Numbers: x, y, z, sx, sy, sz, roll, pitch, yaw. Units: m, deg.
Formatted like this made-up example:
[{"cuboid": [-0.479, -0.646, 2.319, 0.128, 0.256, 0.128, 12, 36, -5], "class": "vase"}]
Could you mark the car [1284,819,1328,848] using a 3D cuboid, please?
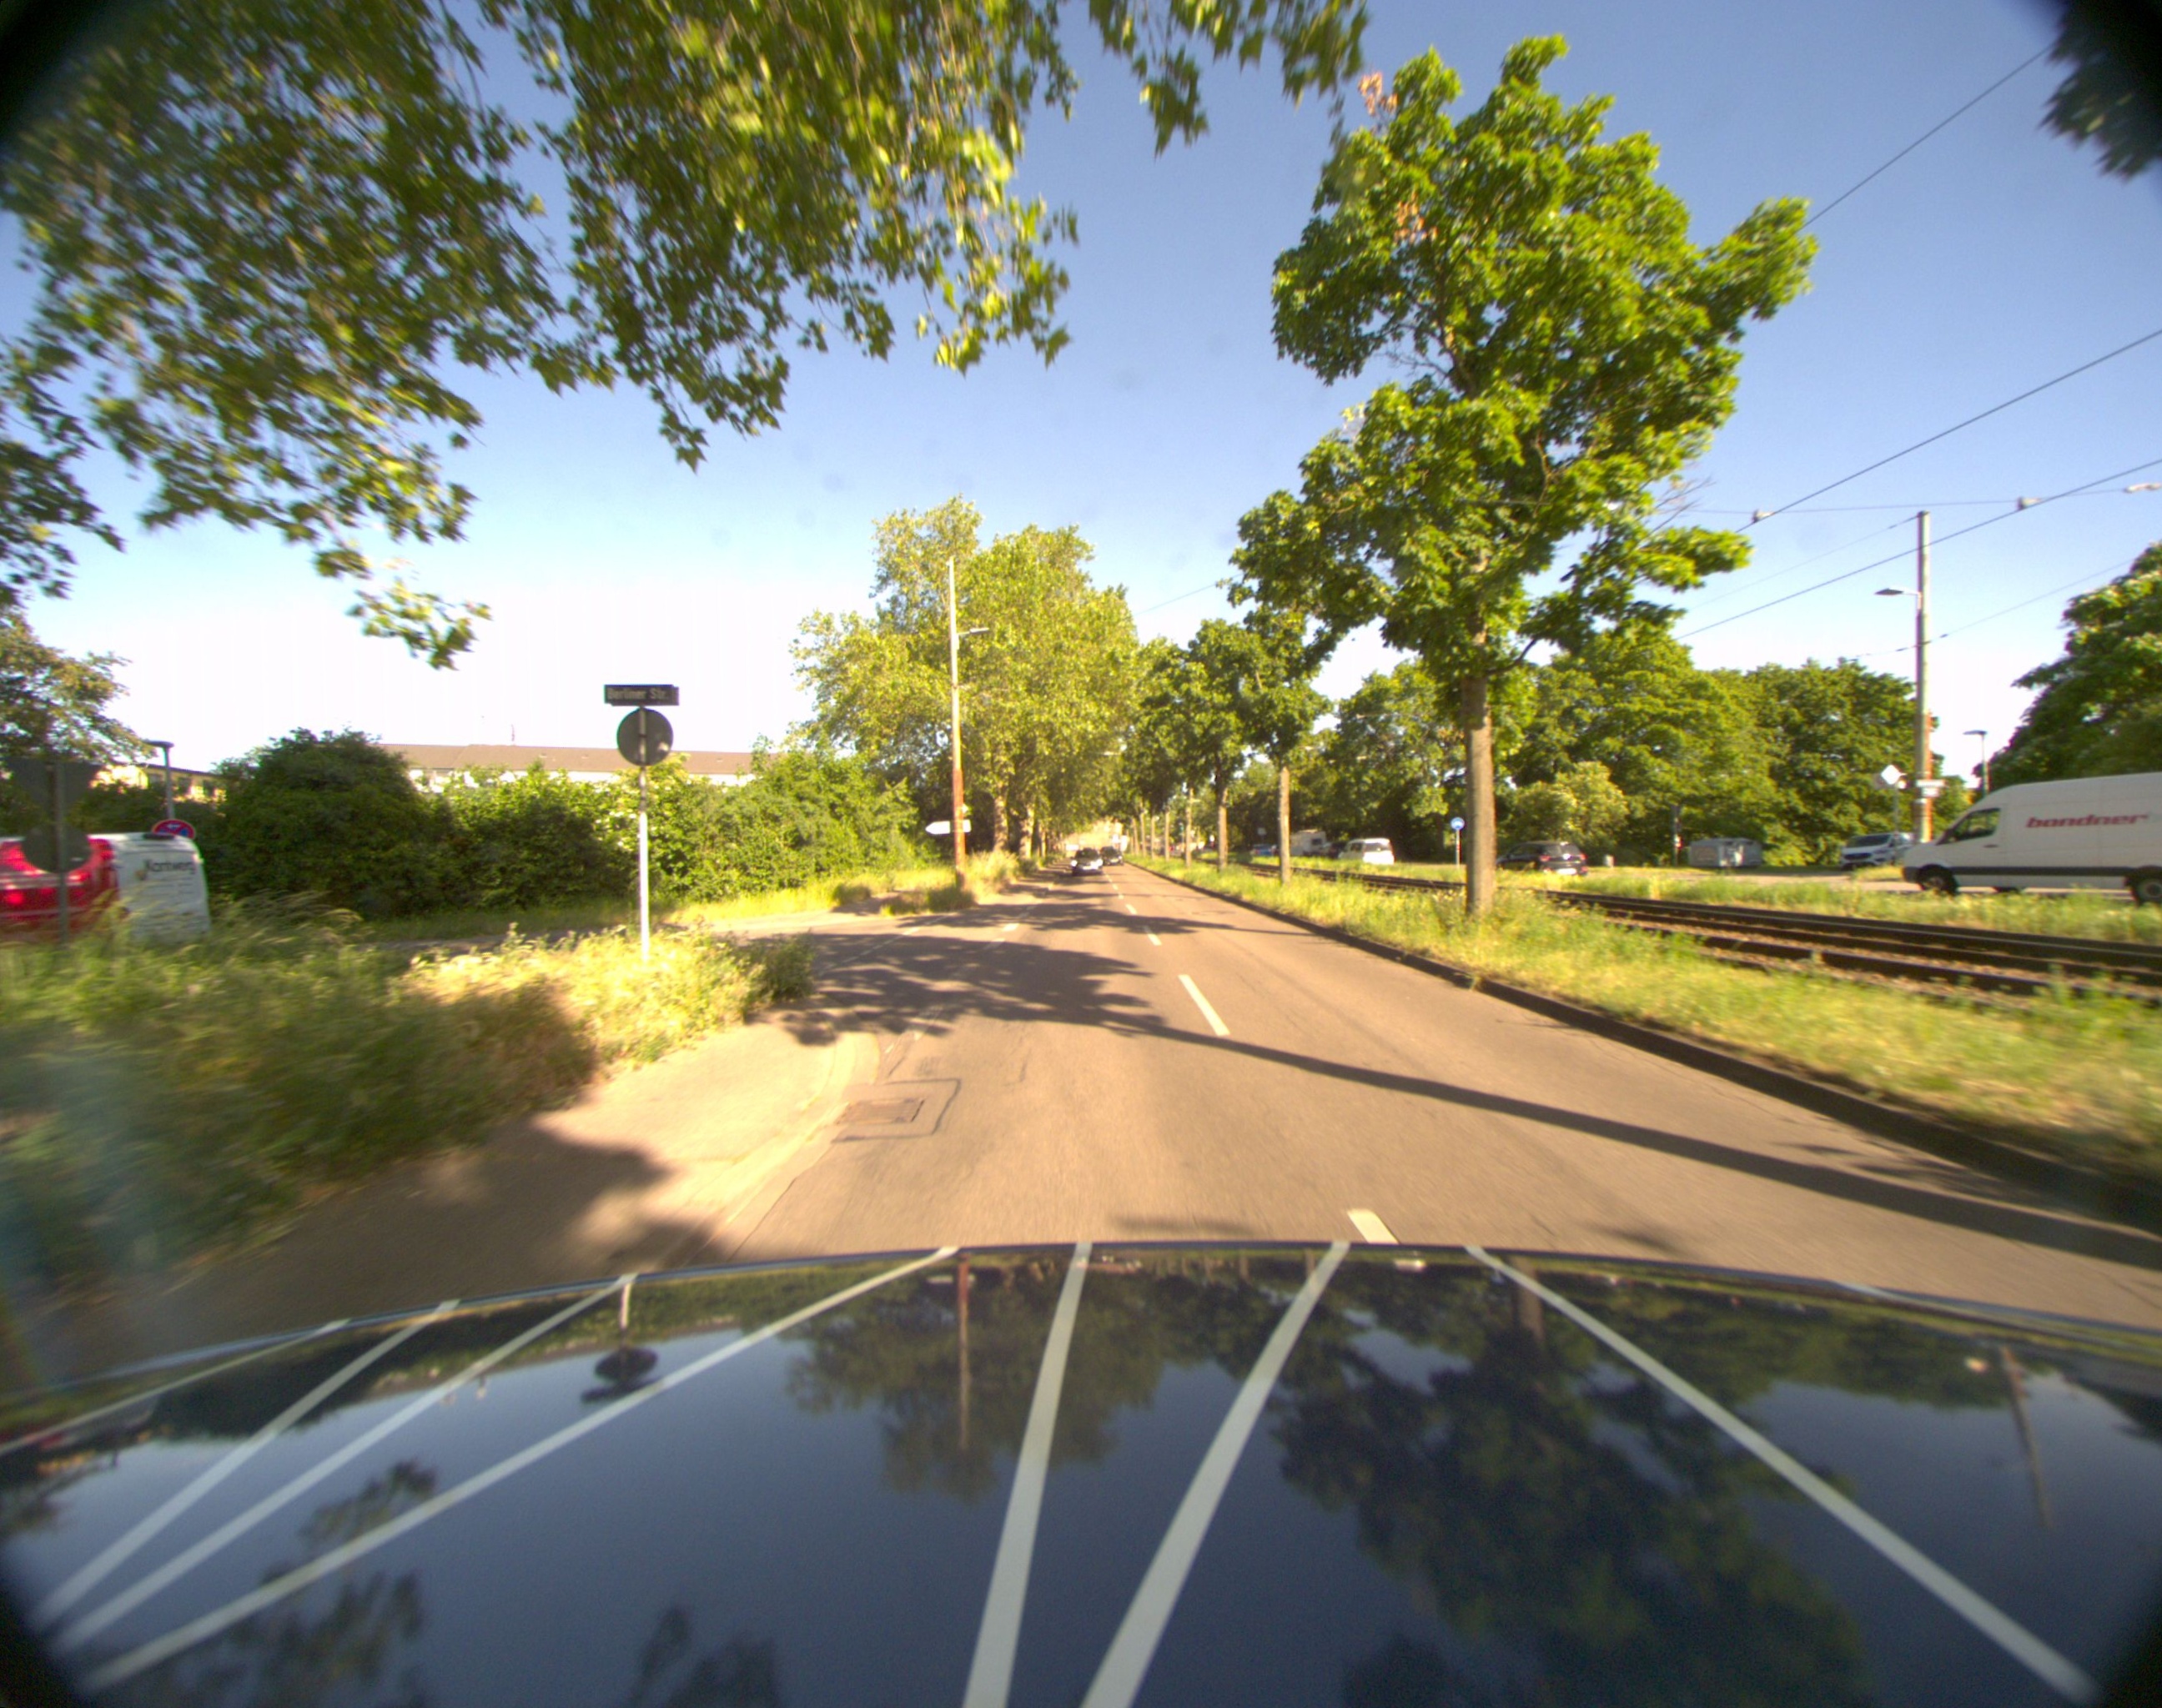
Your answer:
[{"cuboid": [21.842, -1.966, 74.057, 2.231, 2.566, 6.798, -3, 1, 1], "class": "car"}]

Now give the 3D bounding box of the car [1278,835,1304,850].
[{"cuboid": [22.352, -1.234, 81.173, 1.715, 1.426, 3.999, -3, 1, 2], "class": "car"}]

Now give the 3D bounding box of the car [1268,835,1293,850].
[{"cuboid": [22.542, -1.346, 85.955, 1.772, 1.554, 4.281, -3, 1, 3], "class": "car"}]

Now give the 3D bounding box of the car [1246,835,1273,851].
[{"cuboid": [16.855, -1.018, 71.936, 1.561, 1.387, 3.819, -3, 1, 0], "class": "car"}]

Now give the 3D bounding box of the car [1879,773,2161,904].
[{"cuboid": [21.533, -0.393, 16.459, 2.007, 2.482, 6.135, -3, 1, 0], "class": "car"}]

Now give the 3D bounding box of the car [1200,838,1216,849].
[{"cuboid": [20.455, -1.702, 122.534, 1.731, 1.519, 4.441, -3, 1, 1], "class": "car"}]

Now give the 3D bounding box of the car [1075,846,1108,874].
[{"cuboid": [0.578, 0.323, 45.142, 1.808, 1.478, 3.546, -3, 1, 0], "class": "car"}]

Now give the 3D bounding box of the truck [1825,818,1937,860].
[{"cuboid": [41.042, -0.775, 38.988, 4.946, 1.858, 2.080, -4, 2, -19], "class": "truck"}]

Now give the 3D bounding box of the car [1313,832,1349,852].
[{"cuboid": [21.858, -1.087, 66.552, 1.626, 1.613, 4.532, -3, 1, 0], "class": "car"}]

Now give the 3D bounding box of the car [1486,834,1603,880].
[{"cuboid": [16.666, 0.071, 27.560, 1.998, 1.522, 3.751, -2, 1, 2], "class": "car"}]

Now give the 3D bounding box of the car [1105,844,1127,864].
[{"cuboid": [2.949, -0.036, 65.059, 1.714, 1.478, 3.546, -3, 1, 2], "class": "car"}]

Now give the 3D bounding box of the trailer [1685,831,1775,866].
[{"cuboid": [32.568, -0.296, 38.128, 3.762, 1.496, 1.751, -4, 2, -19], "class": "trailer"}]

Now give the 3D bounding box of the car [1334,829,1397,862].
[{"cuboid": [16.619, -0.527, 44.668, 1.815, 1.734, 4.980, -3, 1, 1], "class": "car"}]

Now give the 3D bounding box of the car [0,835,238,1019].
[{"cuboid": [-16.260, 1.098, 10.848, 5.005, 2.425, 2.325, -4, 1, -23], "class": "car"}]
